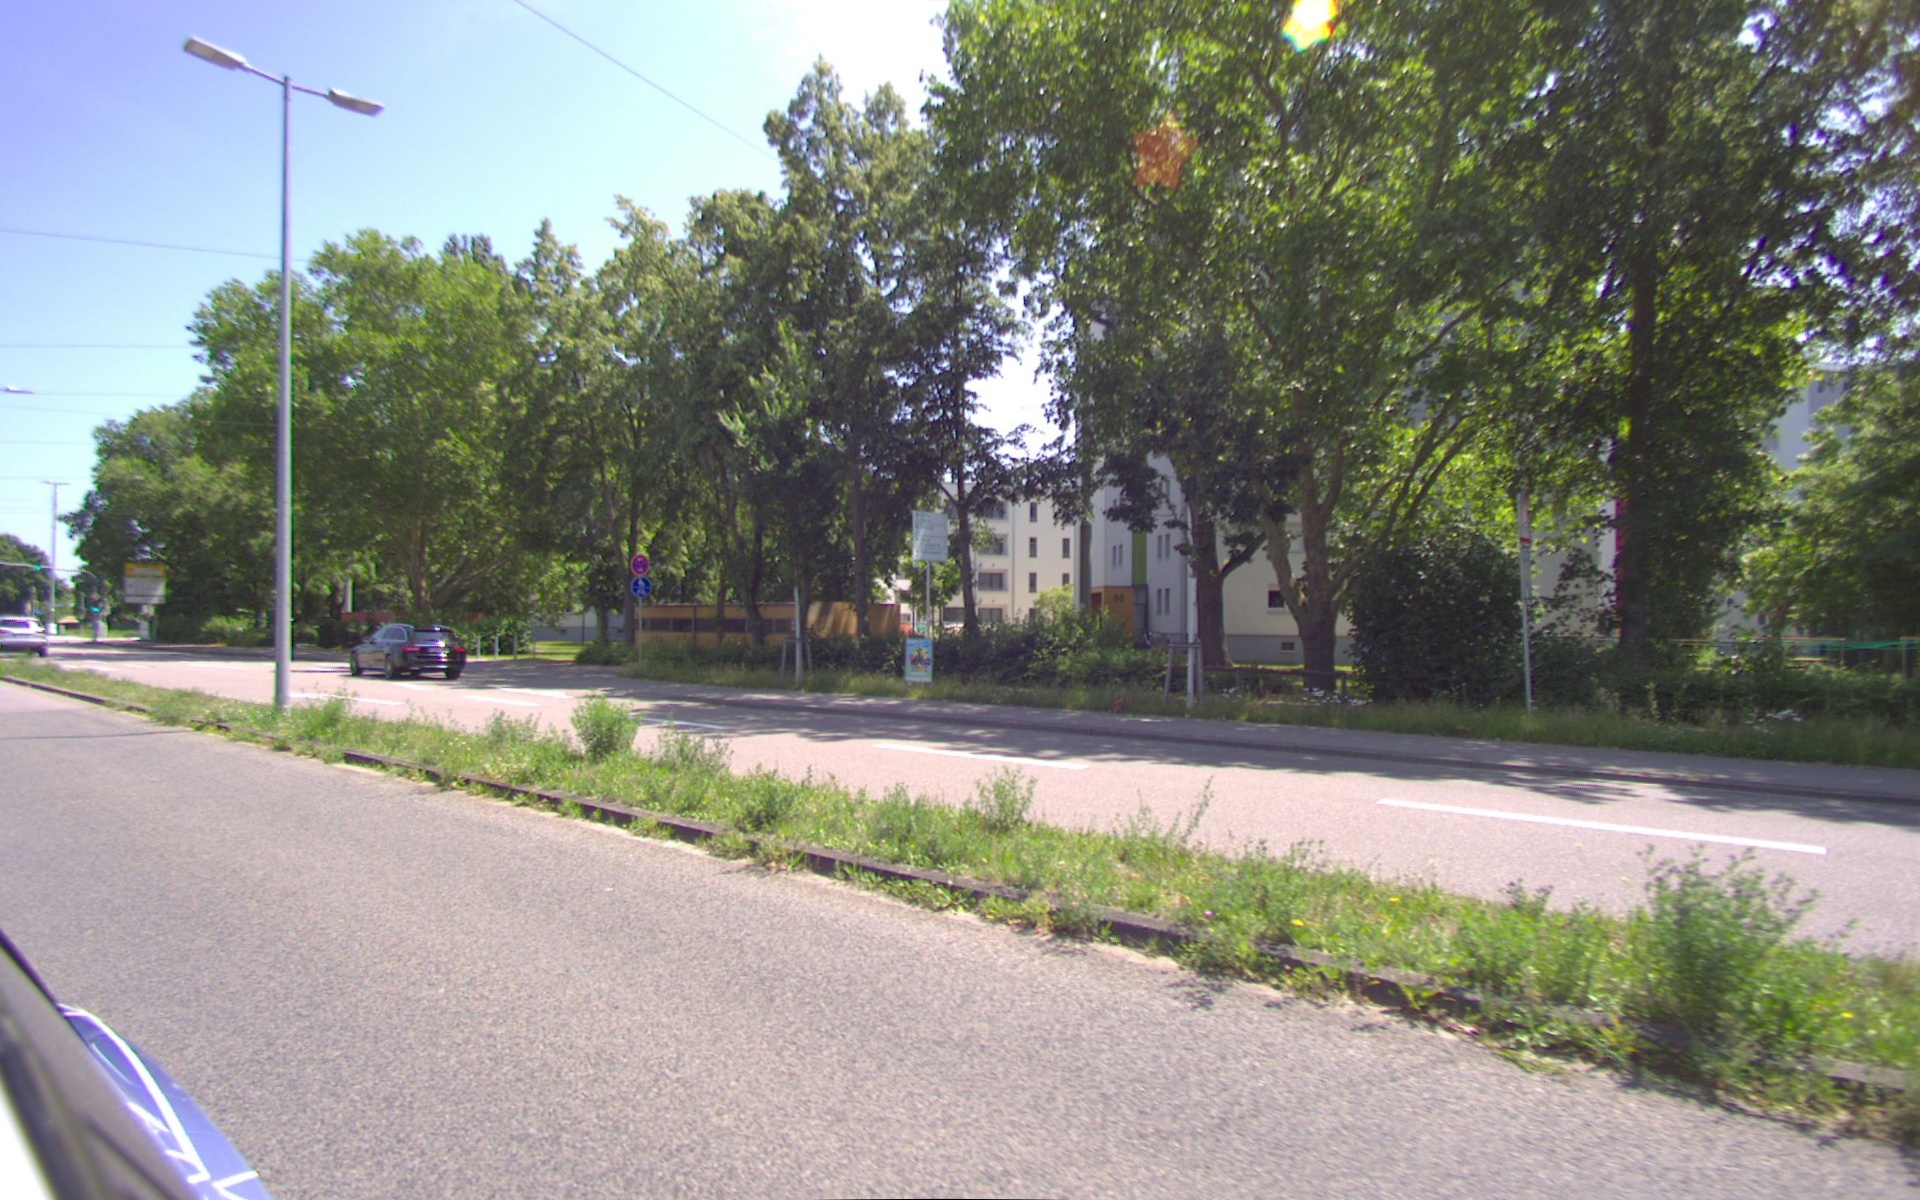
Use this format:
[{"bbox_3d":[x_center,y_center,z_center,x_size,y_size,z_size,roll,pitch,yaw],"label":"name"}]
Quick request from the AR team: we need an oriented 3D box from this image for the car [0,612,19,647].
[{"bbox_3d":[-58.800,1.773,61.388,3.997,2.029,1.973,-1,-3,40],"label":"car"}]

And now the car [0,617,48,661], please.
[{"bbox_3d":[-38.737,1.569,41.266,3.997,1.652,1.793,0,0,40],"label":"car"}]

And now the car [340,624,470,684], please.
[{"bbox_3d":[-15.385,1.468,27.933,4.635,1.520,1.721,-1,-5,43],"label":"car"}]
